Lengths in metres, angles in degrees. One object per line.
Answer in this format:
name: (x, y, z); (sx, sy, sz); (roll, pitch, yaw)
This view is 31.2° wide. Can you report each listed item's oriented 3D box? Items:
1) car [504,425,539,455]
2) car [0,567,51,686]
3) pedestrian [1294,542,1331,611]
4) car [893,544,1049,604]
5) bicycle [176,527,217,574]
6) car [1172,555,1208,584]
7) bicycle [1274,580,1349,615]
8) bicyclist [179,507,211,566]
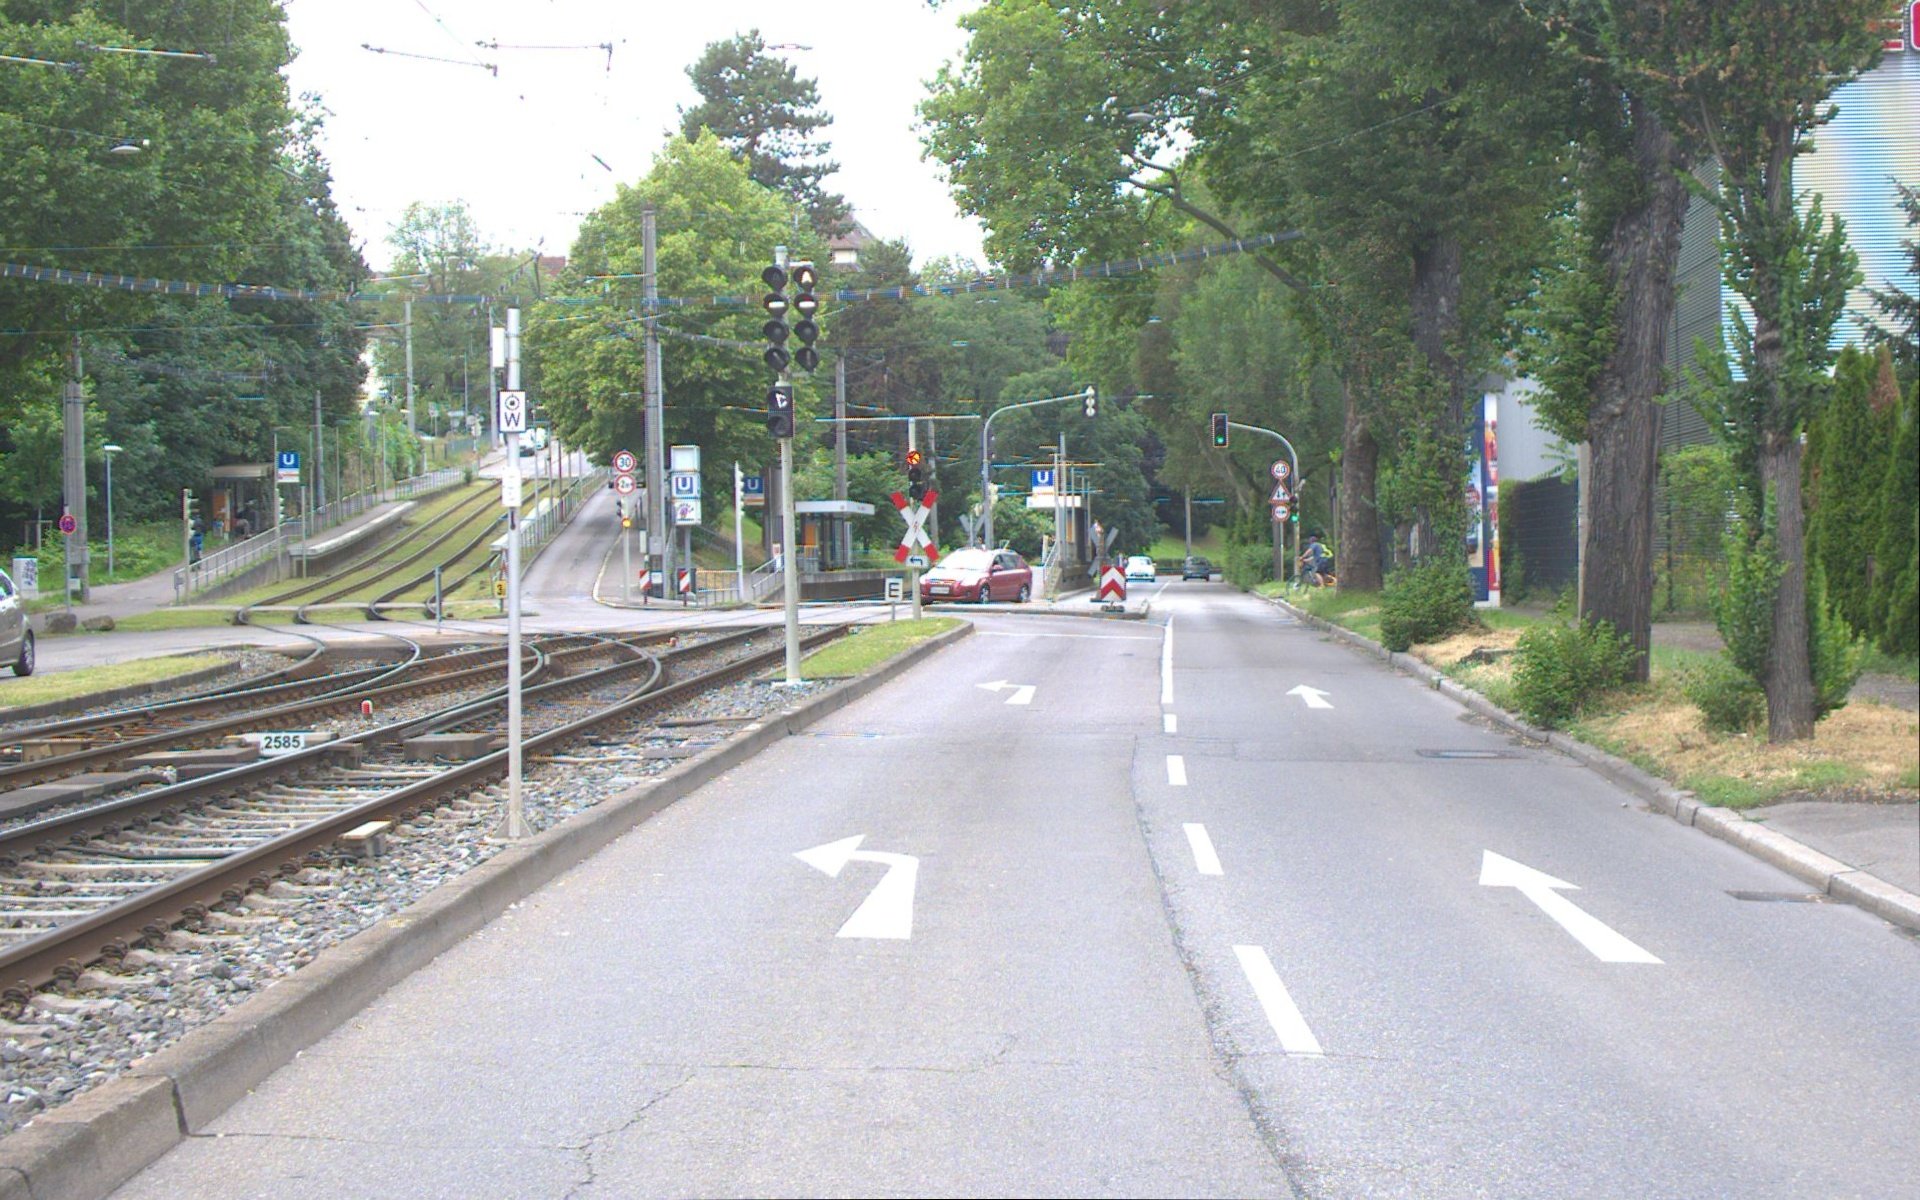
car: (-31.564, -11.504, 247.550); (1.993, 2.007, 4.000); (-1, 1, -1)
car: (-13.335, 0.401, 44.866); (1.890, 1.526, 4.256); (-4, 1, -3)
pedestrian: (10.416, -0.688, 101.658); (0.932, 2.007, 0.667); (-1, 0, 19)
car: (0.320, -0.683, 89.456); (1.997, 1.510, 4.492); (0, 1, 32)
bicycle: (-24.240, -1.575, 109.210); (0.824, 1.338, 2.997); (-2, 3, -5)
car: (14.818, -1.987, 221.714); (1.993, 1.809, 4.000); (-1, 1, 0)
bicycle: (10.393, -0.079, 101.679); (2.076, 1.003, 0.667); (-1, 0, 18)
bicyclist: (-24.237, -2.011, 108.952); (0.821, 1.842, 1.052); (-1, 3, -4)
